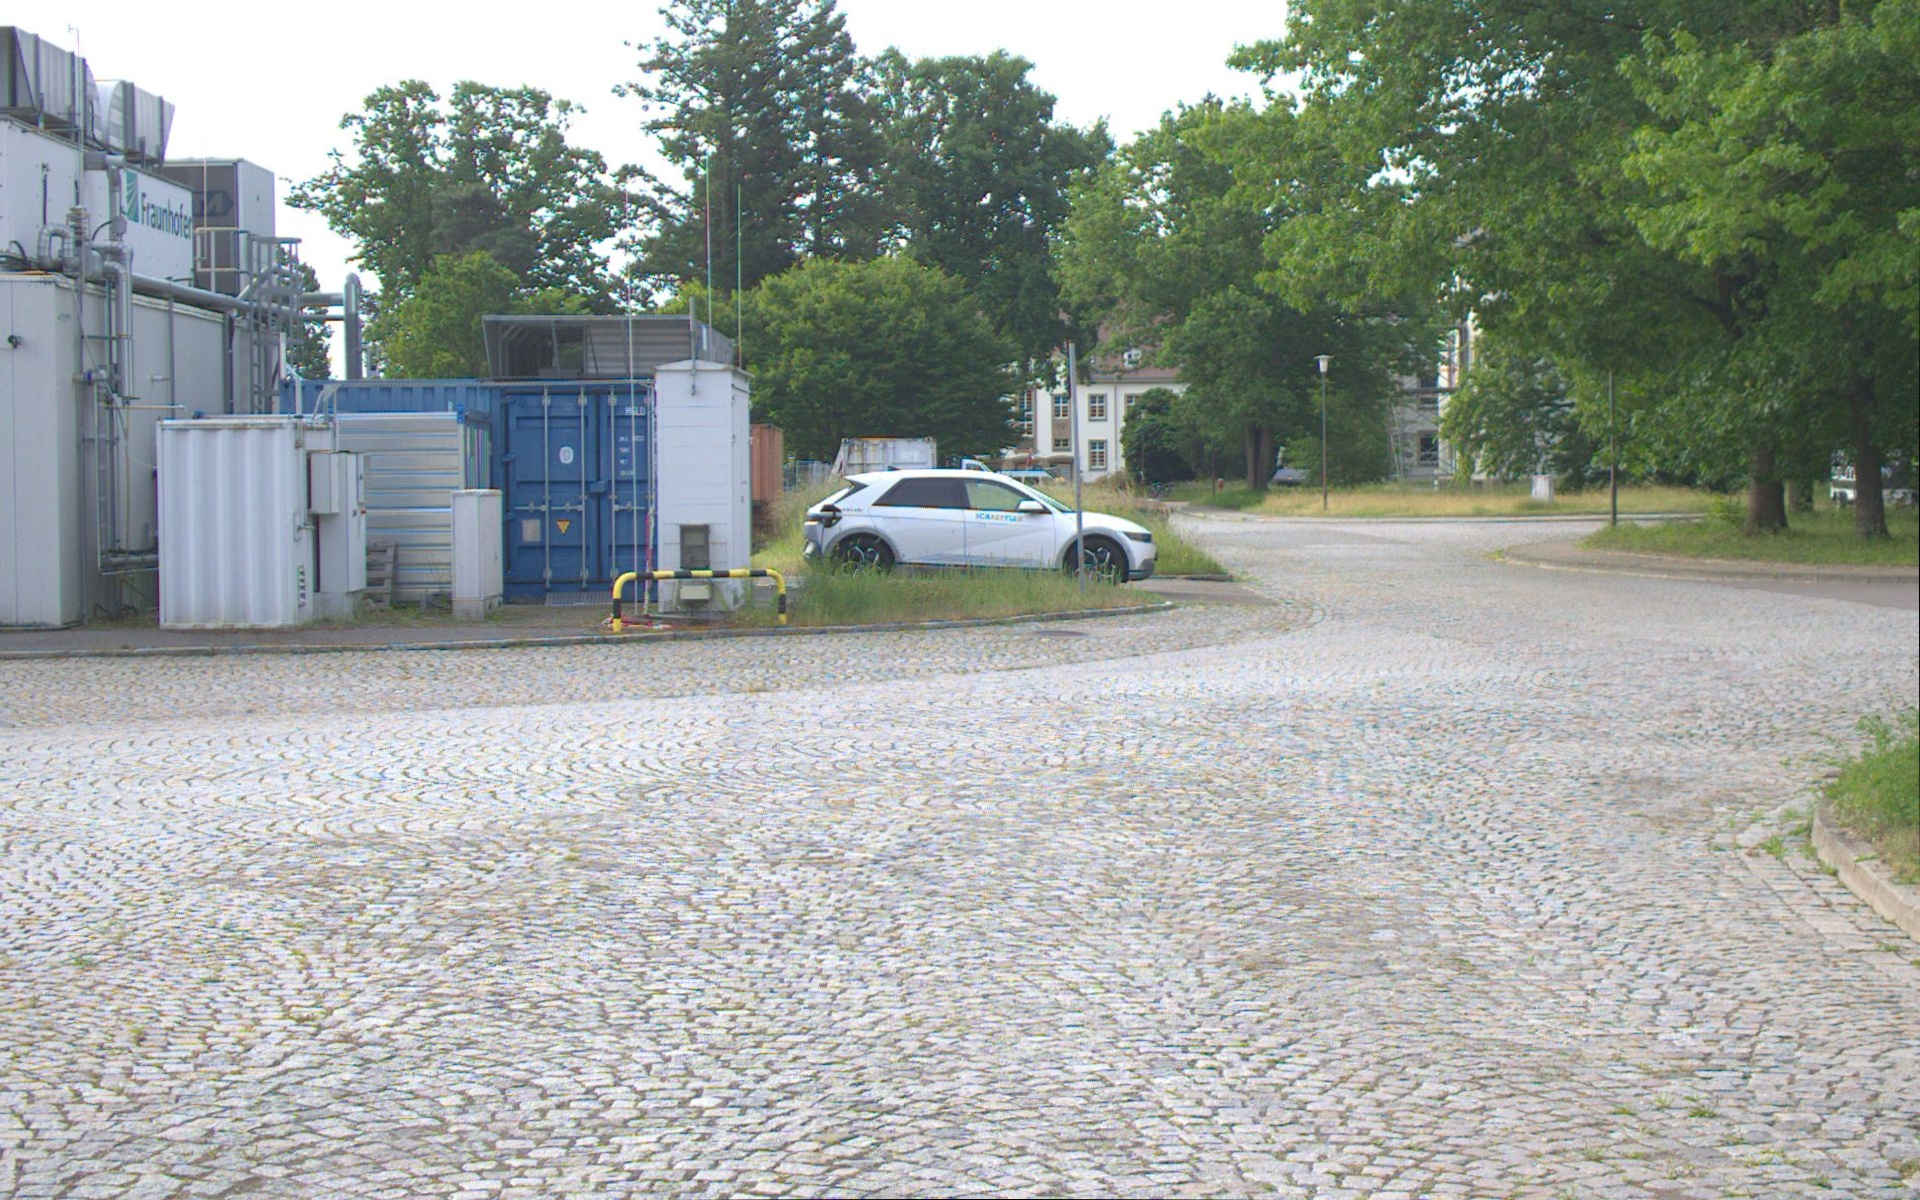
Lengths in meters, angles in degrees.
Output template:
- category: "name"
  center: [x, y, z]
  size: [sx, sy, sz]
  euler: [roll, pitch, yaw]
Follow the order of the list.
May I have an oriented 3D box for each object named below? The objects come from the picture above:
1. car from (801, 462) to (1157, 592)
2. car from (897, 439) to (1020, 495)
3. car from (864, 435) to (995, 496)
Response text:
- category: "car"
  center: [0.285, -0.968, 44.958]
  size: [4.534, 1.594, 2.000]
  euler: [-1, 2, 3]
- category: "car"
  center: [-0.065, -5.666, 146.463]
  size: [5.170, 2.329, 2.000]
  euler: [-1, 2, 0]
- category: "car"
  center: [-1.206, -5.367, 136.909]
  size: [5.170, 2.329, 2.000]
  euler: [-1, 2, 0]
